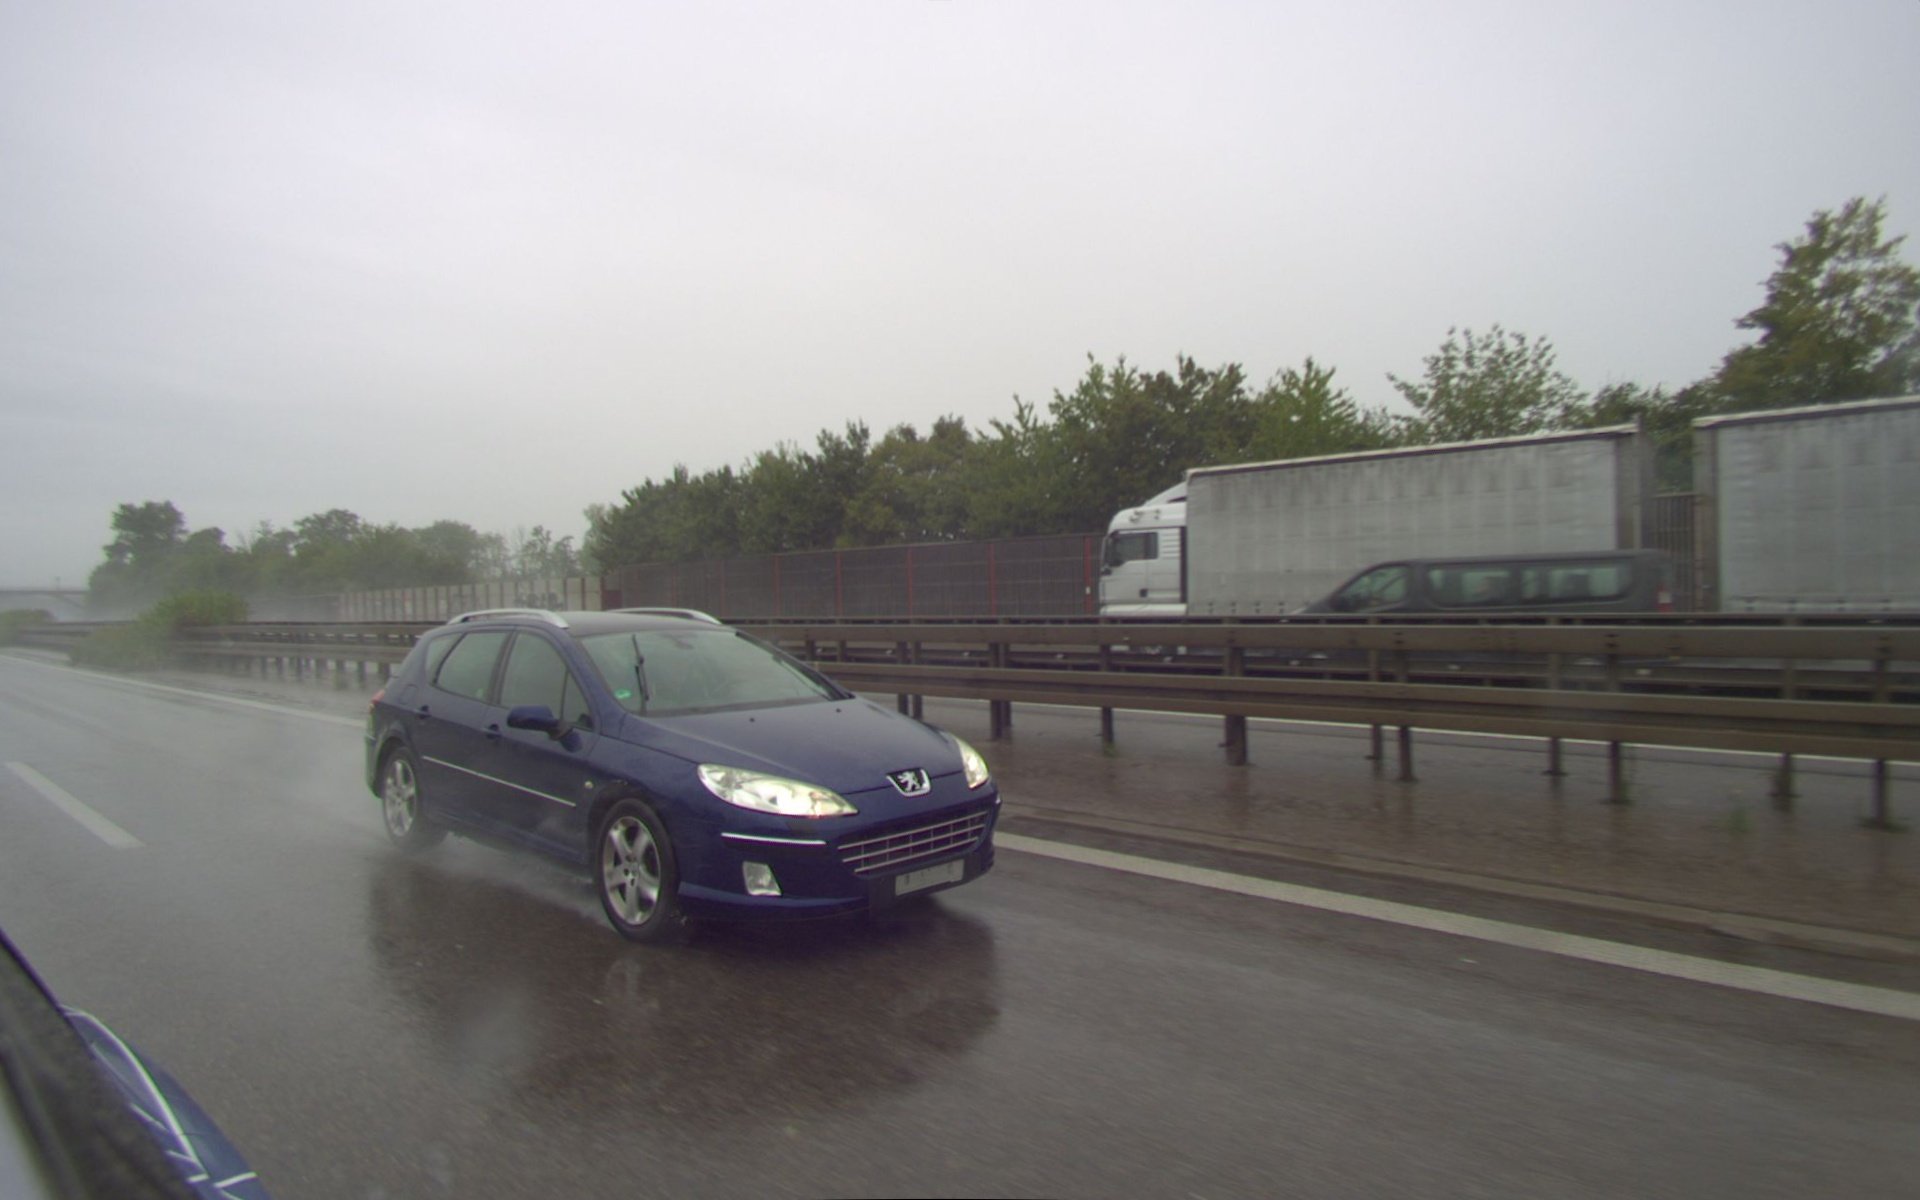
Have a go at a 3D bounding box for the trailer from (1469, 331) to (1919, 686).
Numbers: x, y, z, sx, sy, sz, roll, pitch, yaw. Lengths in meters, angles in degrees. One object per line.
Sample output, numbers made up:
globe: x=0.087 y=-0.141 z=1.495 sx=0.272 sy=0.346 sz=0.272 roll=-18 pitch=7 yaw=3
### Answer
trailer: x=14.504 y=-1.257 z=14.552 sx=12.233 sy=4.731 sz=3.830 roll=-2 pitch=-1 yaw=40

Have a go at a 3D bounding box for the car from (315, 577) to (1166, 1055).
car: x=-1.639 y=0.722 z=5.669 sx=5.156 sy=1.496 sz=2.032 roll=-2 pitch=-1 yaw=42

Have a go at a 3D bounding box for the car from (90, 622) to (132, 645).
car: x=-63.497 y=2.496 z=75.657 sx=4.000 sy=1.608 sz=1.971 roll=-2 pitch=-1 yaw=43

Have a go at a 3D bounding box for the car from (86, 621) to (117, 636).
car: x=-84.095 y=2.751 z=99.141 sx=3.919 sy=1.395 sz=1.819 roll=-1 pitch=0 yaw=43

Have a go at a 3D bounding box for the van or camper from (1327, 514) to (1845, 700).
van or camper: x=8.147 y=0.115 z=13.670 sx=5.668 sy=2.029 sz=1.973 roll=-1 pitch=0 yaw=41

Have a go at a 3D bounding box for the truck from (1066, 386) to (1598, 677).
truck: x=7.213 y=-1.016 z=20.785 sx=9.485 sy=4.674 sz=3.797 roll=-2 pitch=-1 yaw=40
